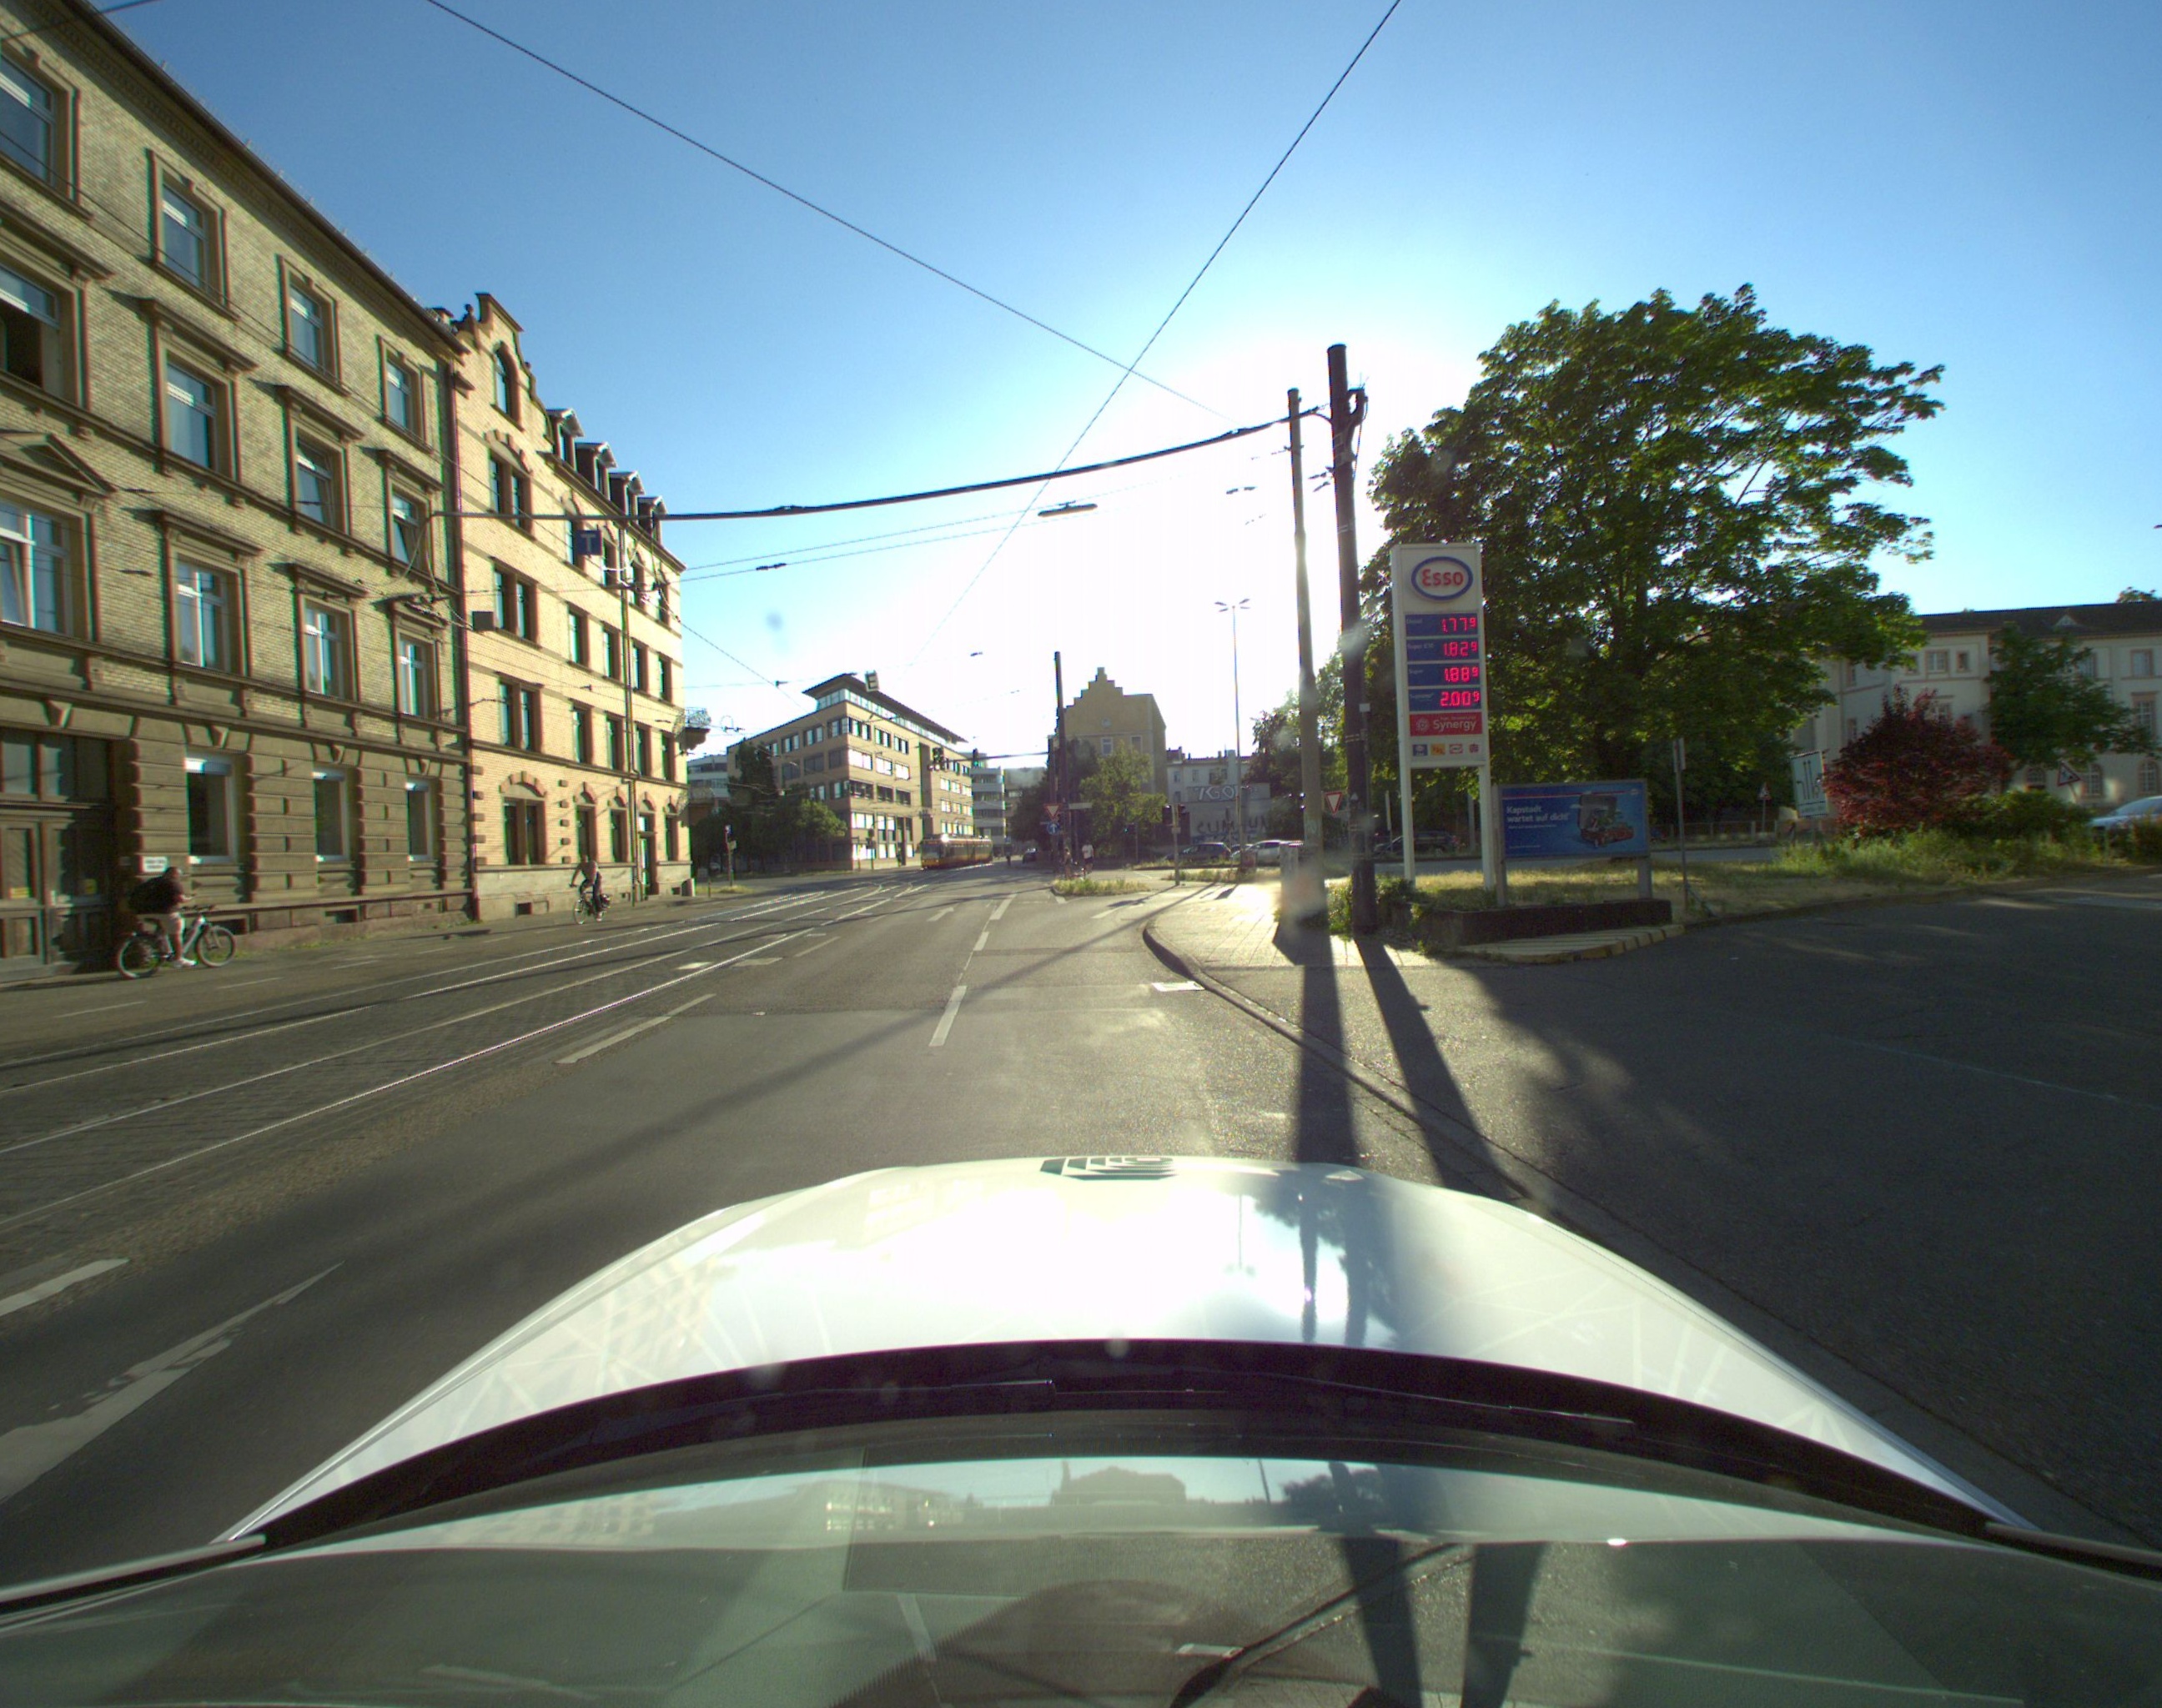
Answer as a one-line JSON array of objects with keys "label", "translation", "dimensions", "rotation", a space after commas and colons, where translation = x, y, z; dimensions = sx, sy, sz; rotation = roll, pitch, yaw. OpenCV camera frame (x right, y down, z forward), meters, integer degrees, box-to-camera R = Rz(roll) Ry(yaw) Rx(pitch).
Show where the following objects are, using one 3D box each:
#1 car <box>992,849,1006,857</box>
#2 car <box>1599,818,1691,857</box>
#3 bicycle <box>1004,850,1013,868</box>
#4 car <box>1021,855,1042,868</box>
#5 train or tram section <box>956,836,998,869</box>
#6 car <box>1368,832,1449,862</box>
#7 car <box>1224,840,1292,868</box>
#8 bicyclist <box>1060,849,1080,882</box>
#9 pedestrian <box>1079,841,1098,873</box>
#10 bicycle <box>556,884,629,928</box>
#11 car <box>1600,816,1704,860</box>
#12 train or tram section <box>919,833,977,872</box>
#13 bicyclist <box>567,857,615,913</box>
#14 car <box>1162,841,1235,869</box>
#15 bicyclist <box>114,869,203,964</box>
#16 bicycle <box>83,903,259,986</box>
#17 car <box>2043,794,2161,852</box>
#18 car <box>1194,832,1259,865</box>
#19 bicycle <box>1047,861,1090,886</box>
[{"label": "car", "translation": [-14.609, -0.180, 145.114], "dimensions": [1.786, 1.409, 4.005], "rotation": [-3, 0, 5]}, {"label": "car", "translation": [33.064, -0.959, 47.833], "dimensions": [3.959, 2.013, 1.942], "rotation": [-3, 0, 13]}, {"label": "bicycle", "translation": [-7.179, 0.494, 80.916], "dimensions": [0.563, 1.806, 1.361], "rotation": [-3, 0, 5]}, {"label": "car", "translation": [-6.122, 0.940, 100.434], "dimensions": [1.985, 1.464, 4.004], "rotation": [-3, 0, 4]}, {"label": "train or tram section", "translation": [-12.383, -0.245, 98.265], "dimensions": [2.212, 3.580, 12.227], "rotation": [-3, 0, 5]}, {"label": "car", "translation": [17.914, -0.386, 44.699], "dimensions": [3.957, 1.453, 1.694], "rotation": [-3, 0, 16]}, {"label": "car", "translation": [11.118, -0.002, 51.139], "dimensions": [3.955, 1.507, 1.680], "rotation": [-3, 0, 18]}, {"label": "bicyclist", "translation": [-0.501, 0.503, 36.411], "dimensions": [0.801, 1.413, 0.624], "rotation": [-3, -1, 1]}, {"label": "pedestrian", "translation": [0.444, 0.163, 45.118], "dimensions": [0.922, 1.692, 0.778], "rotation": [-3, 0, 4]}, {"label": "bicycle", "translation": [-13.952, 1.455, 23.346], "dimensions": [0.945, 1.097, 1.995], "rotation": [-3, 0, -5]}, {"label": "car", "translation": [29.707, -0.814, 42.523], "dimensions": [3.959, 2.013, 1.942], "rotation": [-3, 0, 13]}, {"label": "train or tram section", "translation": [-13.650, -0.180, 85.009], "dimensions": [2.230, 3.574, 14.299], "rotation": [-3, 0, 5]}, {"label": "bicyclist", "translation": [-13.957, 0.860, 23.231], "dimensions": [0.842, 1.514, 0.800], "rotation": [-3, 0, -5]}, {"label": "car", "translation": [7.008, 0.074, 48.560], "dimensions": [3.954, 1.453, 1.818], "rotation": [-3, 0, 18]}, {"label": "bicyclist", "translation": [-15.200, 1.010, 13.431], "dimensions": [0.589, 1.491, 0.702], "rotation": [-3, 0, 1]}, {"label": "bicycle", "translation": [-15.160, 1.466, 13.667], "dimensions": [0.499, 1.132, 2.126], "rotation": [-3, 0, 1]}, {"label": "car", "translation": [28.415, -0.862, 21.327], "dimensions": [3.850, 1.420, 1.809], "rotation": [-3, 0, 11]}, {"label": "car", "translation": [9.805, -0.356, 54.856], "dimensions": [3.954, 2.013, 2.010], "rotation": [-3, 0, 18]}, {"label": "bicycle", "translation": [-0.543, 0.860, 36.404], "dimensions": [1.826, 0.984, 0.734], "rotation": [-3, 0, 1]}]
